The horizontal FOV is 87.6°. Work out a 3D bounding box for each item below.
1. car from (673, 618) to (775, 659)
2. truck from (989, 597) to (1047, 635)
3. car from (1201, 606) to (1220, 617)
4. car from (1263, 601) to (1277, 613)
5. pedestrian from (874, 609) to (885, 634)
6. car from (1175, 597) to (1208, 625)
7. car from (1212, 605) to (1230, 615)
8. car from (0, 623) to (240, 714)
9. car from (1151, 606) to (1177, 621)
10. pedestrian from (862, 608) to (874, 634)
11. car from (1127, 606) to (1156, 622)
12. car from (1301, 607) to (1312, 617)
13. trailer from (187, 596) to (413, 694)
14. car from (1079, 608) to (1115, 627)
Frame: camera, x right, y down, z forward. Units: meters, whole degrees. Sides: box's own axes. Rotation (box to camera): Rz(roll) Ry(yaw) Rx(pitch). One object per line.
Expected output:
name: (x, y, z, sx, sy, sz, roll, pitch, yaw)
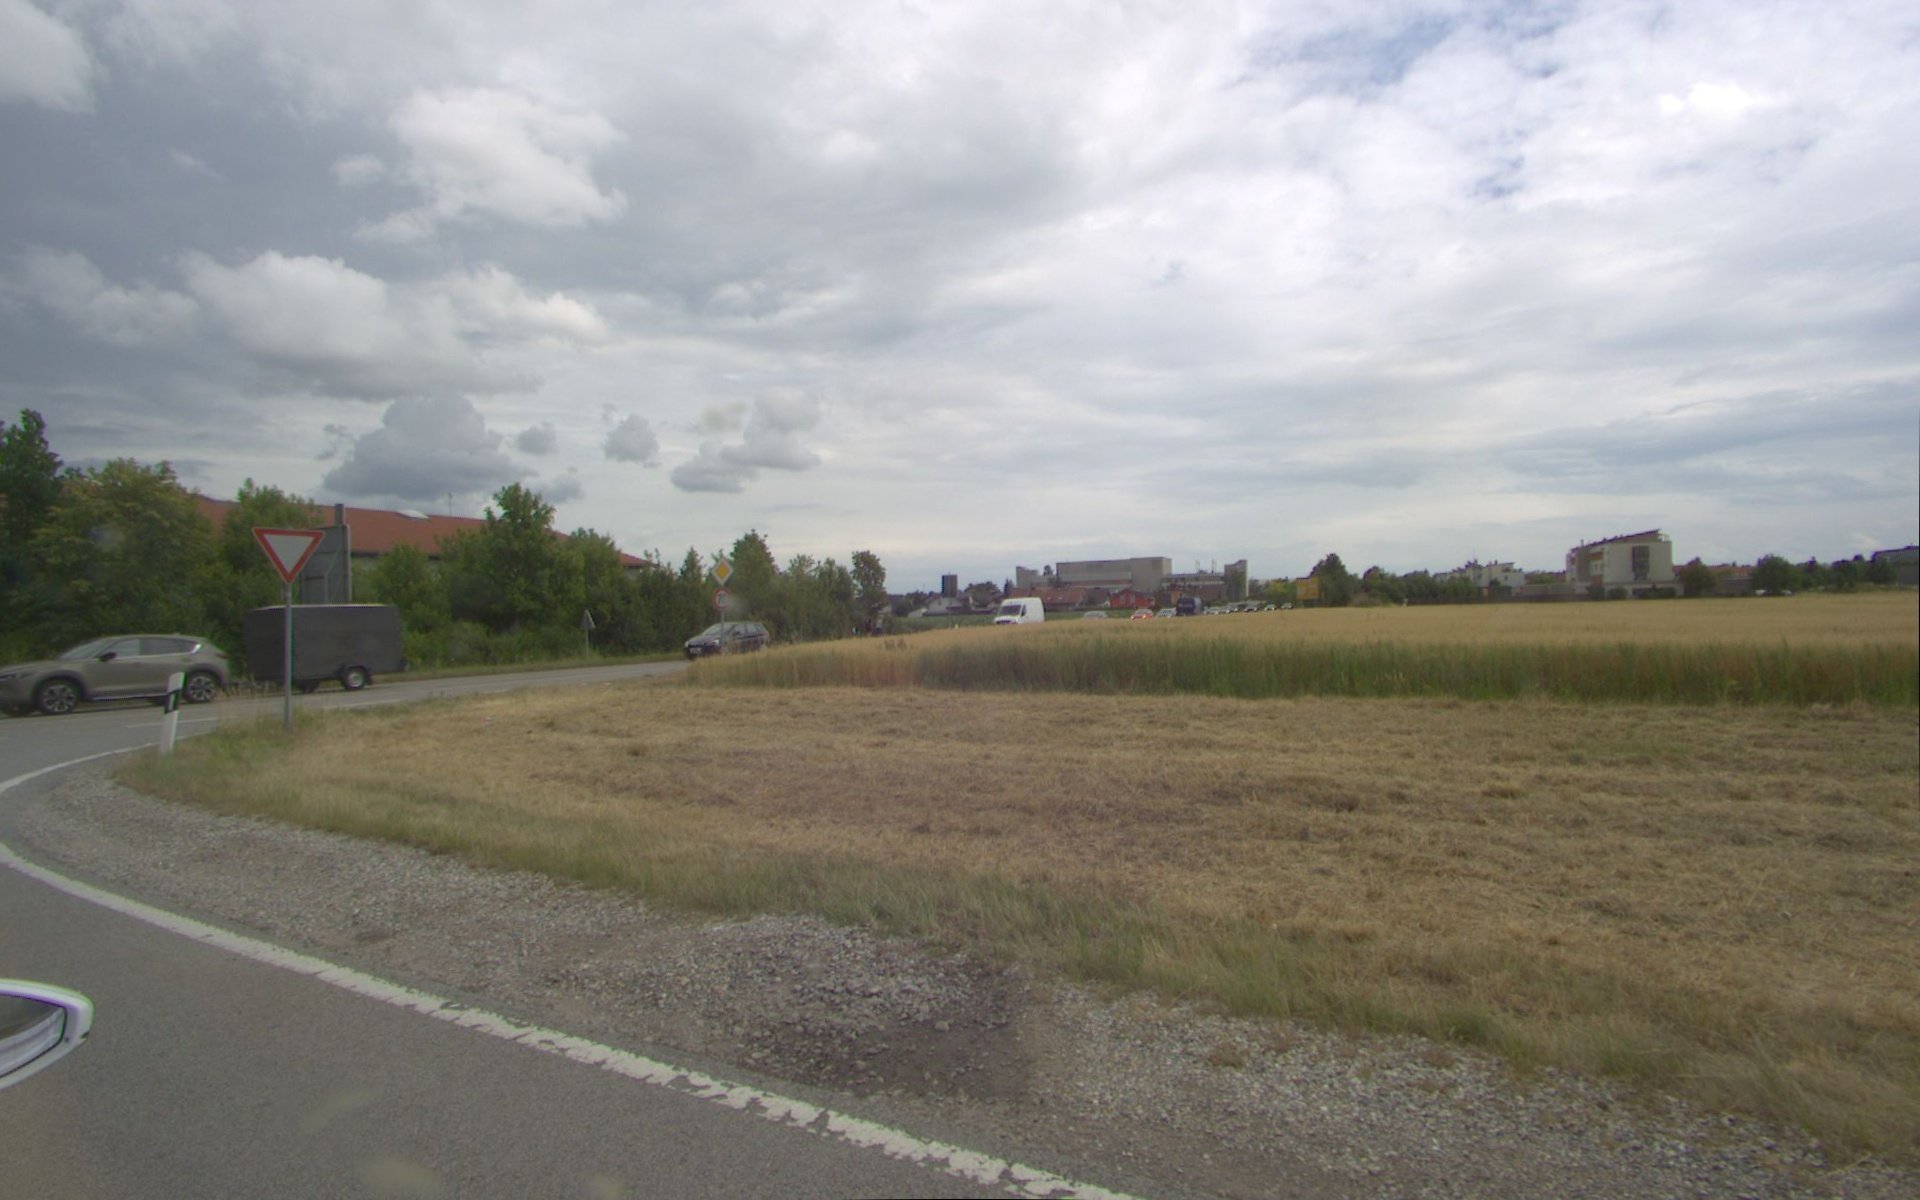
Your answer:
car: (-9.858, 1.581, 42.235, 1.967, 1.506, 4.287, -2, 0, 24)
truck: (4.237, 1.123, 71.838, 1.968, 2.608, 5.996, -3, -1, 25)
car: (33.752, 1.538, 134.917, 1.826, 1.287, 3.518, -1, 0, 24)
car: (57.408, 1.308, 185.435, 1.967, 2.041, 3.986, 0, 1, 24)
pedestrian: (-5.368, 1.430, 66.993, 0.521, 1.705, 0.626, 0, 1, 21)
car: (23.799, 1.102, 102.860, 2.115, 2.675, 5.549, 0, 1, 26)
car: (37.228, 1.412, 142.734, 1.826, 1.287, 3.518, -1, 0, 24)
car: (-19.148, 1.453, 22.455, 1.967, 1.704, 4.466, -3, -1, 22)
car: (22.036, 1.419, 108.082, 1.826, 1.486, 3.986, -1, 0, 25)
pedestrian: (-6.204, 1.431, 67.480, 0.521, 1.705, 0.626, 0, 1, 21)
car: (18.336, 1.385, 100.968, 1.826, 1.486, 3.986, -1, 0, 25)
car: (70.414, 2.411, 203.570, 1.966, 1.916, 3.988, -1, 1, 22)
trailer: (-17.366, 1.122, 26.617, 2.377, 2.322, 4.383, -3, -1, 23)
car: (11.930, 1.516, 87.110, 1.967, 1.483, 4.148, -2, 0, 24)
